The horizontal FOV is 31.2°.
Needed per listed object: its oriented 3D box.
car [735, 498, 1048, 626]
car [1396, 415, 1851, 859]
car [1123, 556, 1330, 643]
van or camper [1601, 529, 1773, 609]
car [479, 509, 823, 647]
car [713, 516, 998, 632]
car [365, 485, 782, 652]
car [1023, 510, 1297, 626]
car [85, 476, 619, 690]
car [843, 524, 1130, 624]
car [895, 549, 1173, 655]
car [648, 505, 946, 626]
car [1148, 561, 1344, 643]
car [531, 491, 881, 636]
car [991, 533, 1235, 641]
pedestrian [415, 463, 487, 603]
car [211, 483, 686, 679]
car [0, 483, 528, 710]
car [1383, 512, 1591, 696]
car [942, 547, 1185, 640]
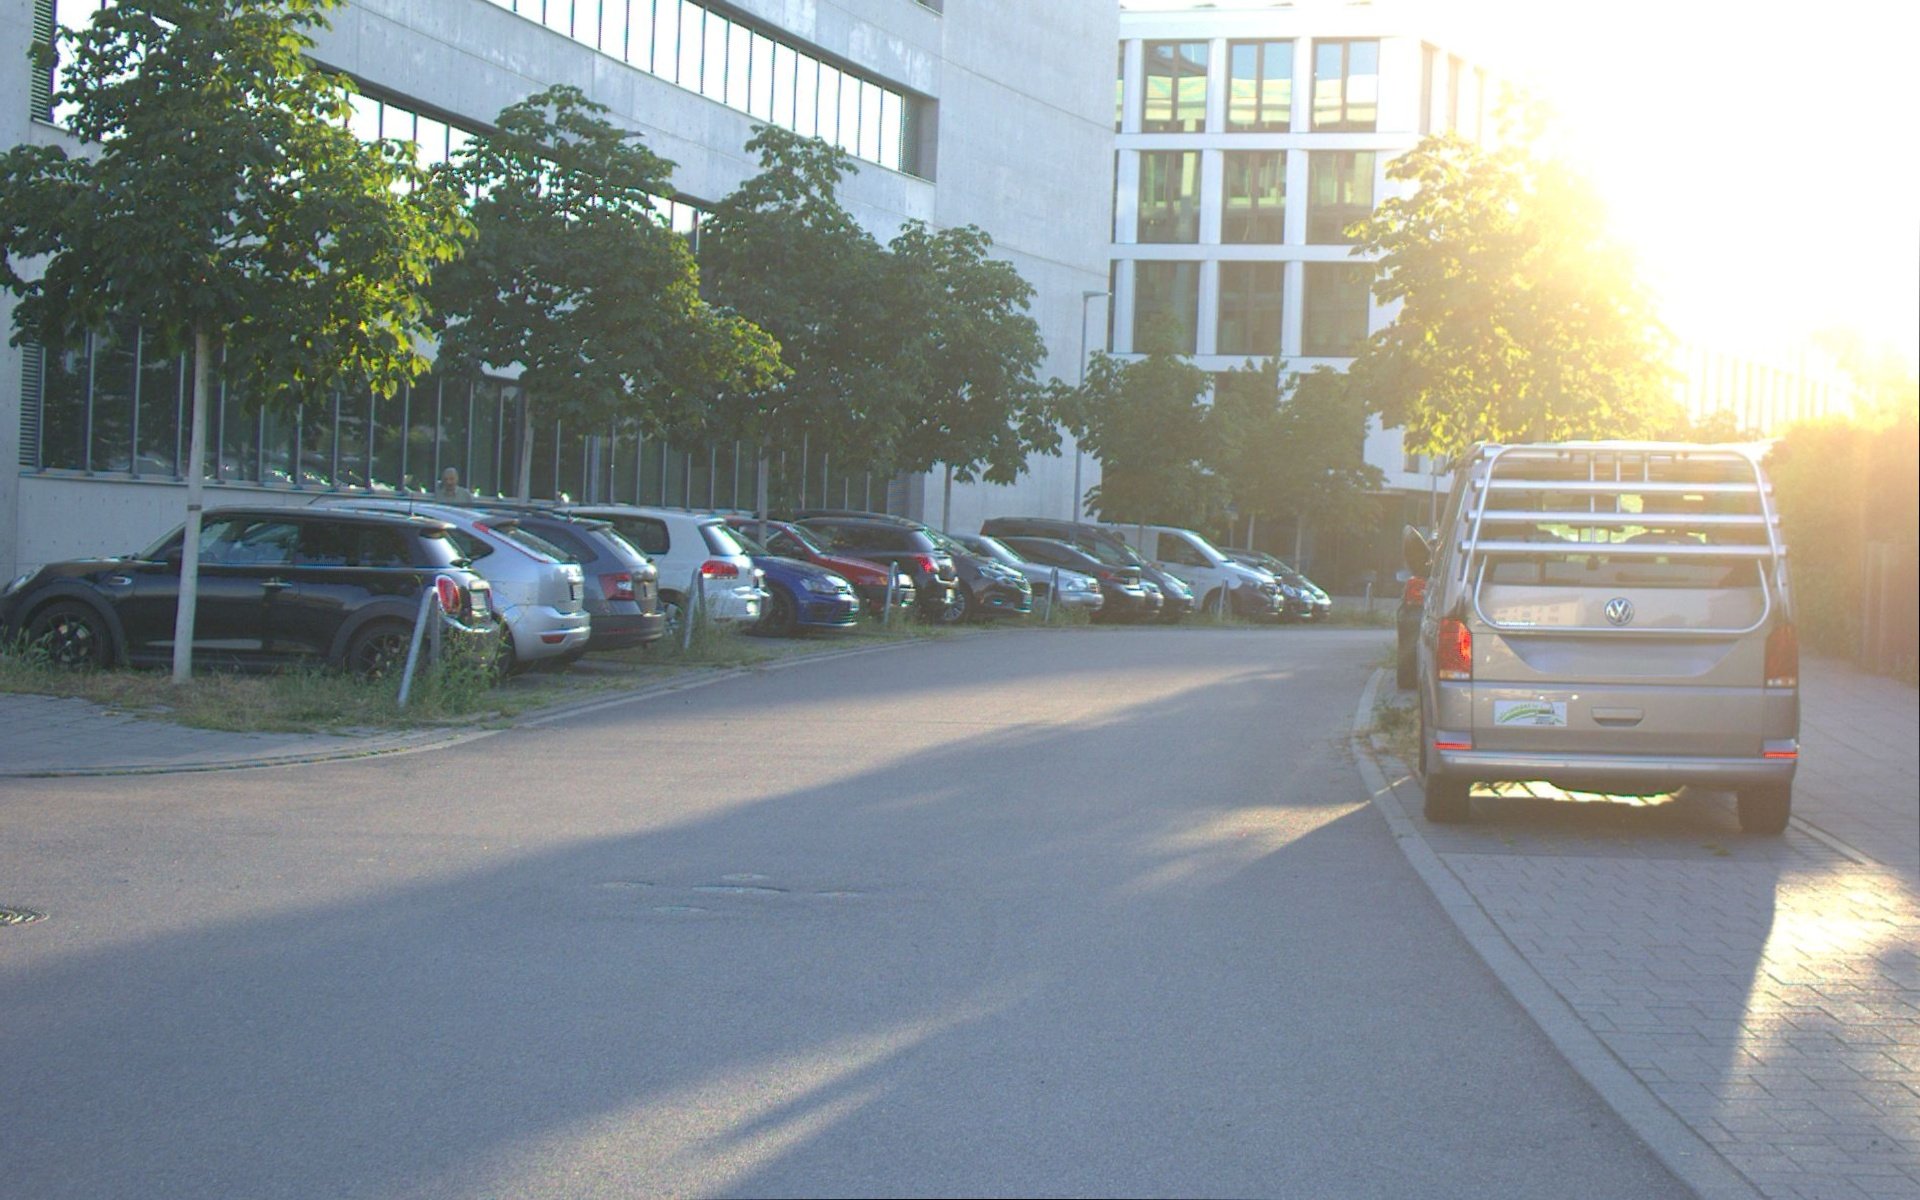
[{"bbox_3d":[-1.009,-0.575,51.707,4.311,1.690,1.895,3,1,13],"label":"car"},{"bbox_3d":[3.496,0.121,18.996,2.066,2.087,4.871,1,1,7],"label":"car"},{"bbox_3d":[5.617,-0.008,72.314,3.990,1.517,1.604,5,1,17],"label":"car"},{"bbox_3d":[25.246,-1.092,119.480,5.460,2.475,1.773,4,2,25],"label":"van or camper"},{"bbox_3d":[-3.530,-0.267,39.624,3.633,1.357,1.686,3,2,6],"label":"car"},{"bbox_3d":[-1.476,-0.376,49.012,3.704,1.452,1.678,3,1,13],"label":"car"},{"bbox_3d":[-4.054,-0.349,36.345,3.988,1.506,1.759,3,2,9],"label":"car"},{"bbox_3d":[4.031,-0.647,69.159,5.081,1.940,1.887,5,1,17],"label":"car"},{"bbox_3d":[-5.118,-0.164,29.278,4.086,1.523,1.846,3,1,4],"label":"car"},{"bbox_3d":[0.450,-0.447,57.392,4.437,1.459,1.762,3,2,16],"label":"car"},{"bbox_3d":[1.290,0.033,59.630,4.402,1.494,1.761,5,1,20],"label":"car"},{"bbox_3d":[-2.209,-0.474,47.019,3.704,1.452,1.710,3,1,11],"label":"car"},{"bbox_3d":[6.235,0.034,74.895,3.890,1.483,1.650,4,1,19],"label":"car"},{"bbox_3d":[-3.069,-0.459,41.894,3.872,1.506,1.759,3,2,11],"label":"car"},{"bbox_3d":[2.927,-0.249,65.665,4.250,1.736,1.723,5,1,17],"label":"car"},{"bbox_3d":[-6.644,-0.872,44.891,0.646,1.778,0.725,3,1,10],"label":"pedestrian"},{"bbox_3d":[-4.650,-0.203,31.559,3.998,1.507,1.585,3,3,4],"label":"car"},{"bbox_3d":[-5.388,-0.055,26.508,3.735,1.477,1.769,3,2,5],"label":"car"},{"bbox_3d":[4.892,-0.006,31.606,1.741,1.546,3.638,2,1,10],"label":"car"},{"bbox_3d":[1.935,-0.125,63.981,4.147,1.399,1.723,5,1,17],"label":"car"}]
